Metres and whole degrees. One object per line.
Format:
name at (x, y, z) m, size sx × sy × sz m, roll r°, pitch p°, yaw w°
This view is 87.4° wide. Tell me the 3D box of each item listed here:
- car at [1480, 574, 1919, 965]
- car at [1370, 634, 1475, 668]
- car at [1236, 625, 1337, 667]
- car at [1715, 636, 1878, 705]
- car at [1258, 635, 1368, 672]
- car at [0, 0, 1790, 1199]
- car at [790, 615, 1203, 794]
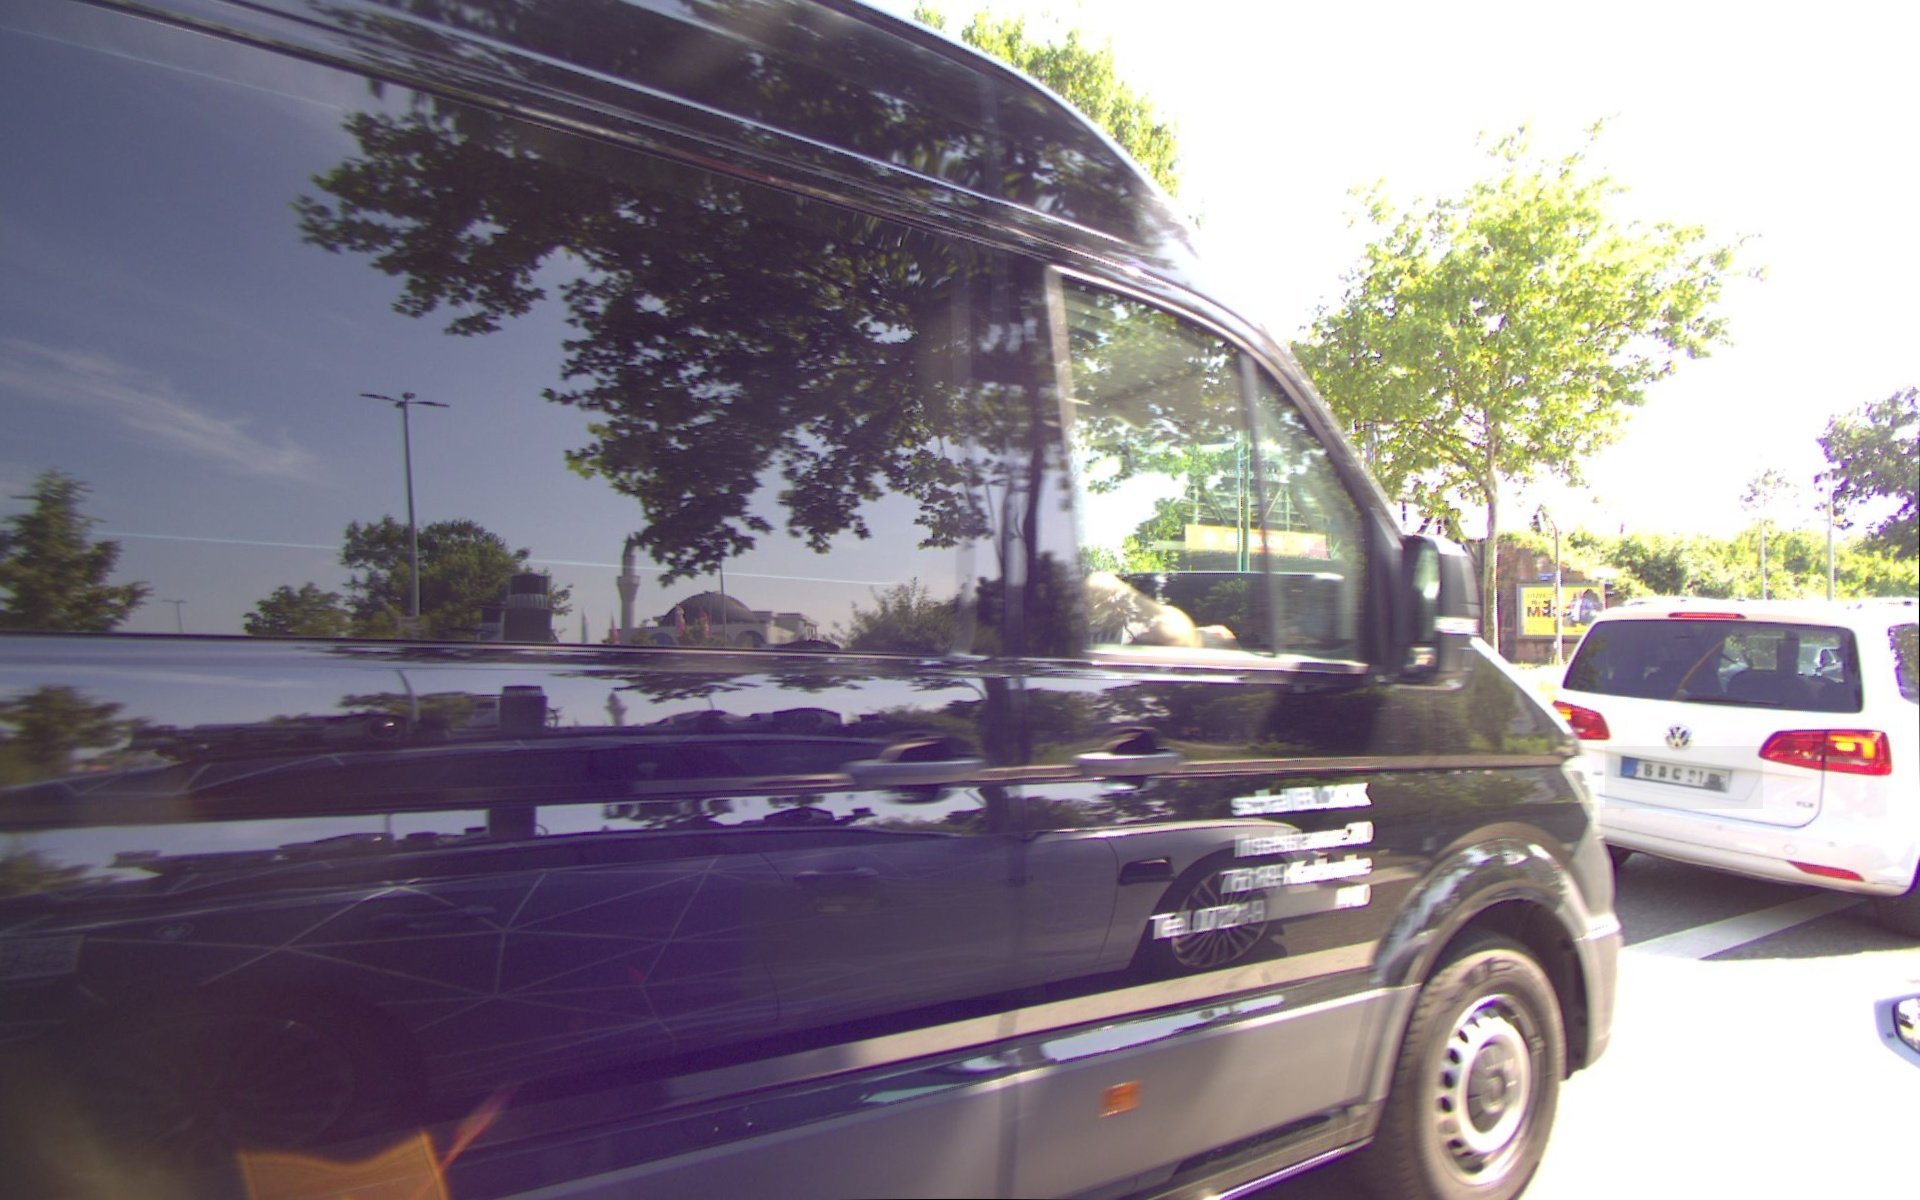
car at (5.328, 0.794, 6.132) m, size 4.300 × 1.669 × 1.763 m, roll 2°, pitch -1°, yaw -30°
car at (21.044, 2.315, 45.774) m, size 4.250 × 1.445 × 1.485 m, roll 0°, pitch -2°, yaw 26°
car at (14.650, 2.029, 45.126) m, size 4.055 × 1.754 × 1.880 m, roll 0°, pitch -2°, yaw 28°
car at (19.915, 1.644, 23.875) m, size 4.112 × 1.505 × 1.729 m, roll 2°, pitch -3°, yaw -32°
car at (14.196, 2.119, 40.408) m, size 3.927 × 1.363 × 1.880 m, roll 0°, pitch -2°, yaw 28°
car at (-0.730, 0.112, 2.281) m, size 6.095 × 2.642 × 2.006 m, roll 2°, pitch -1°, yaw -30°
car at (0.421, 0.962, 10.354) m, size 3.951 × 1.531 × 1.724 m, roll 2°, pitch -2°, yaw -29°
